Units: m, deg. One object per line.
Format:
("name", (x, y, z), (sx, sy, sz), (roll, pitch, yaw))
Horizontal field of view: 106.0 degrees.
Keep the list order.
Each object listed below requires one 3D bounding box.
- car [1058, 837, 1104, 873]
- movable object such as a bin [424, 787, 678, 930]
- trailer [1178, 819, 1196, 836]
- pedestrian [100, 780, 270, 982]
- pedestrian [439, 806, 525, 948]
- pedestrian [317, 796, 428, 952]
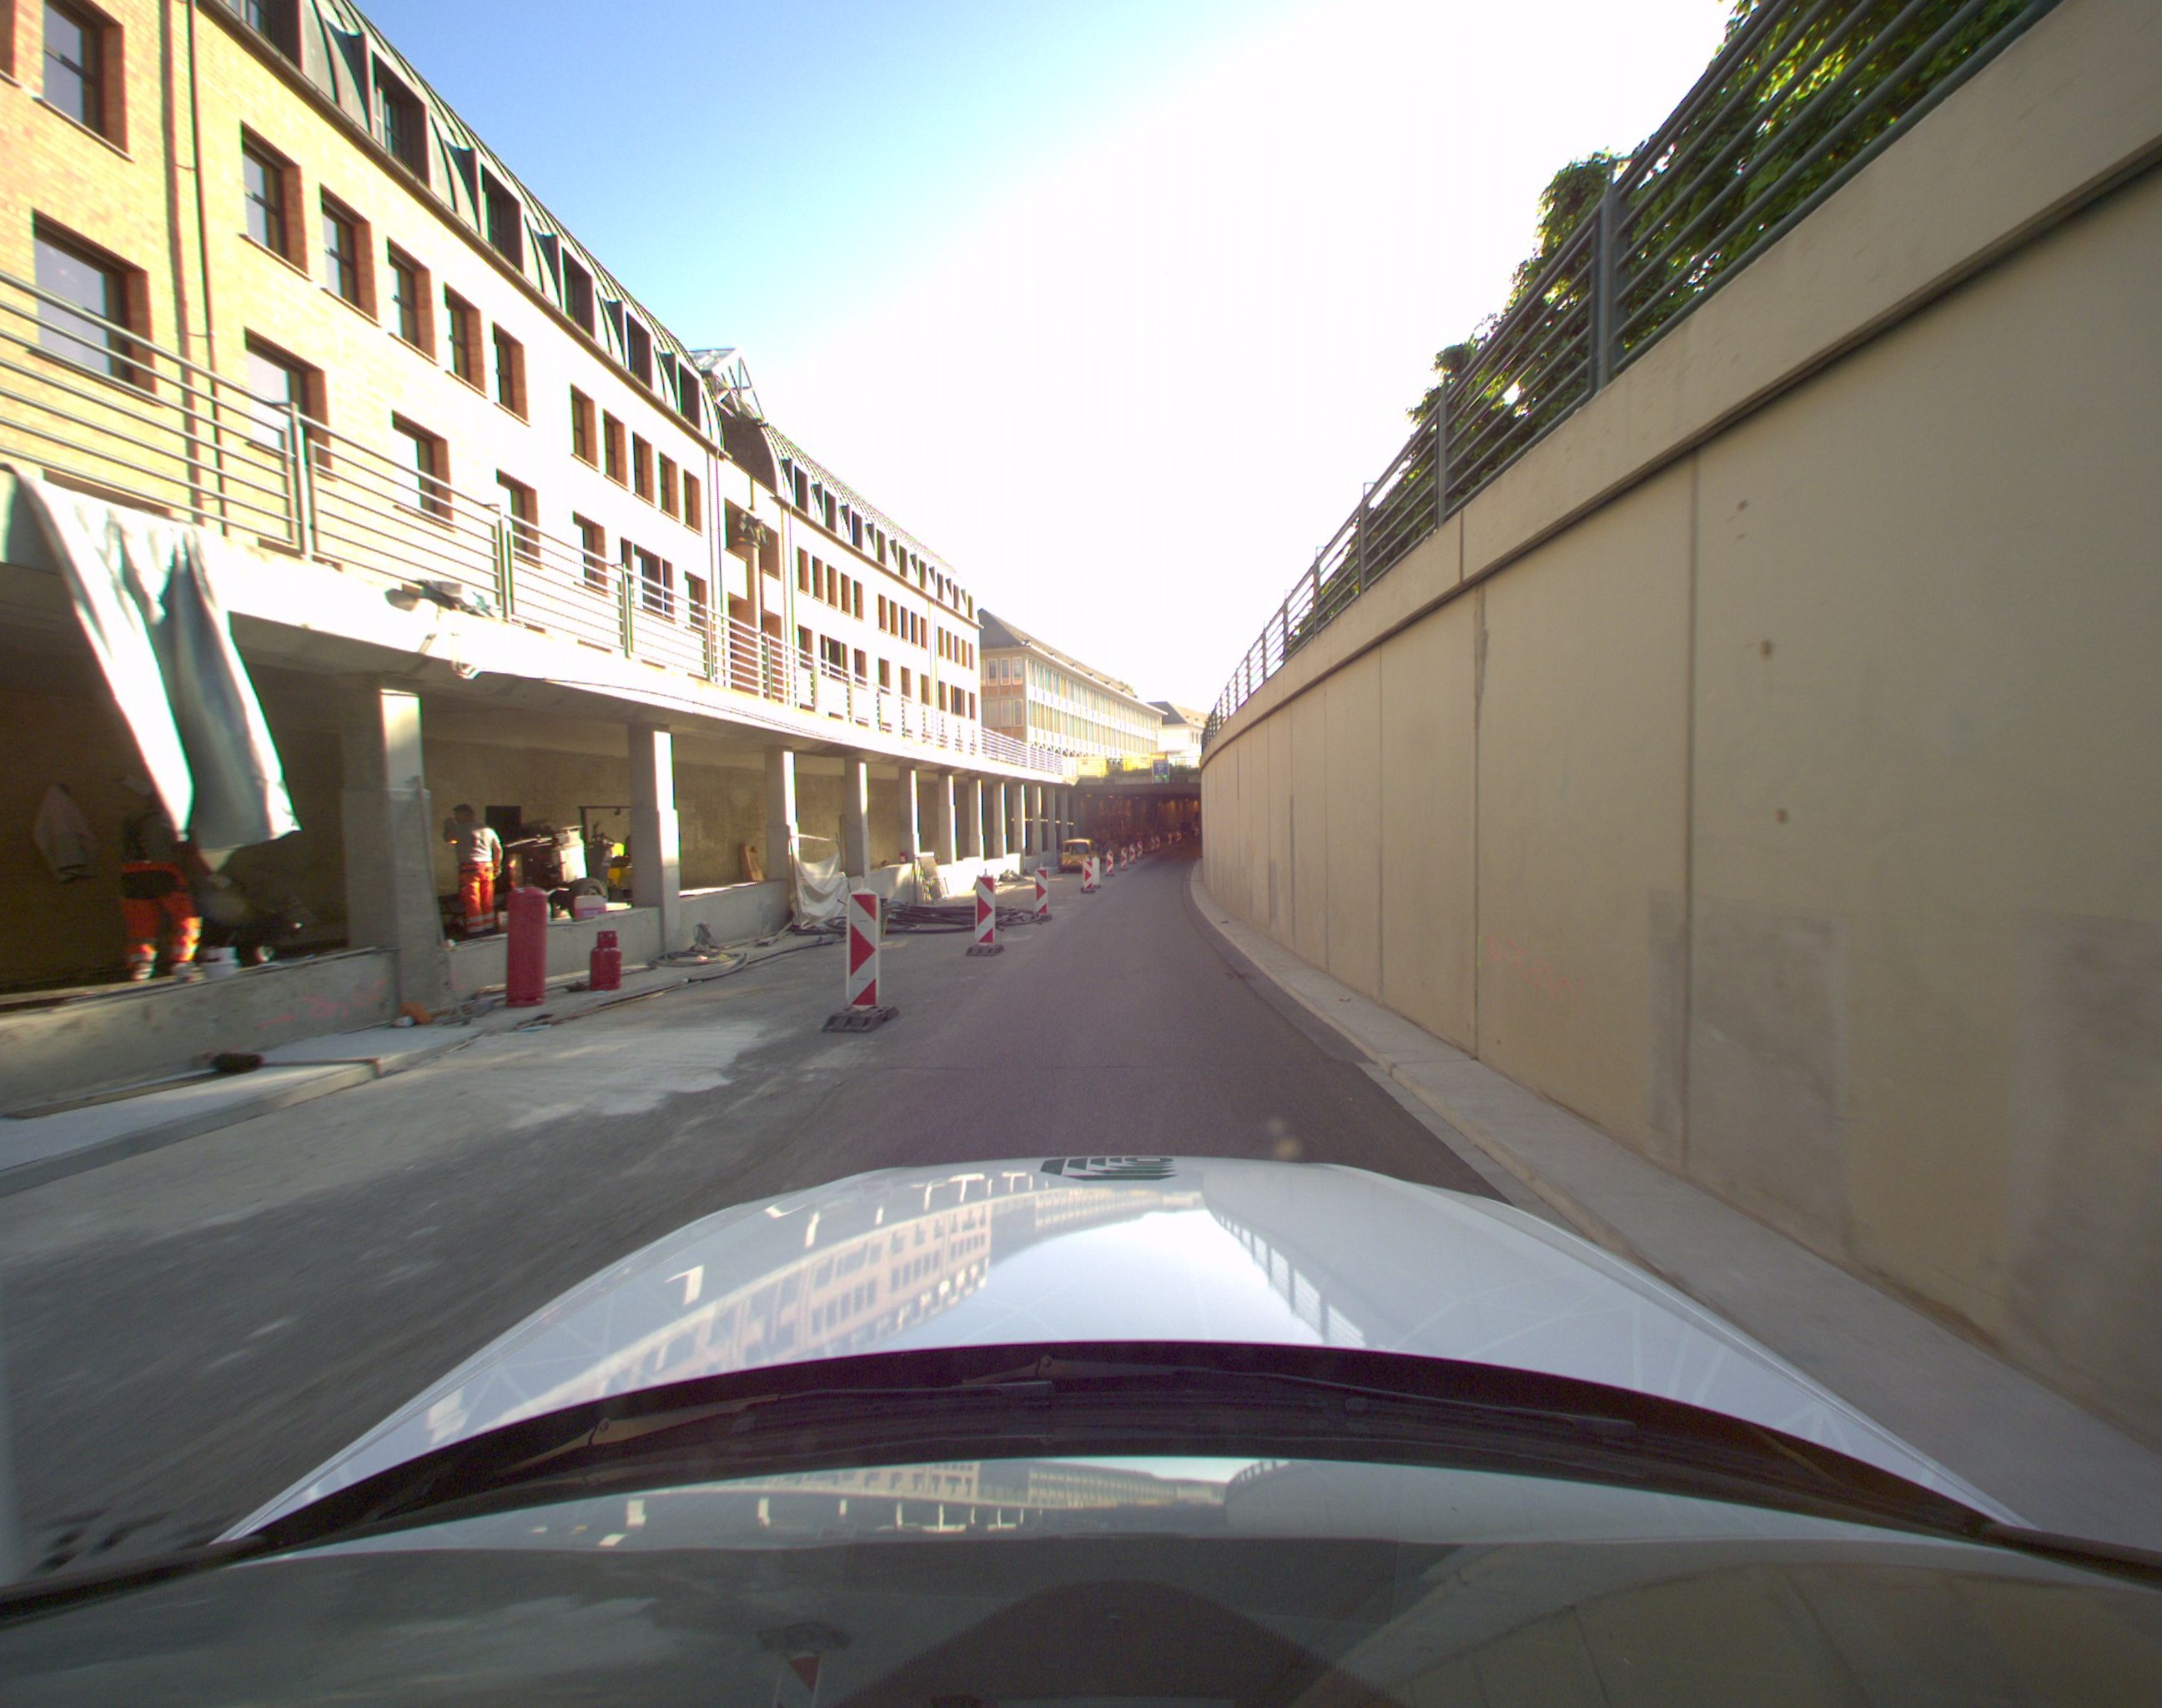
("car", (0.051, 0.009, 44.660), (1.837, 1.775, 4.446), (0, 3, 9))
("movable object such as a bin", (-8.119, 0.040, 12.856), (1.879, 1.987, 3.160), (0, 1, 1))
("trailer", (12.261, -3.088, 94.054), (1.569, 1.797, 2.952), (1, 3, 16))
("pedestrian", (-9.193, 0.262, 8.403), (0.674, 1.957, 0.937), (1, 0, 3))
("pedestrian", (-7.882, 0.286, 10.739), (0.653, 1.805, 0.626), (0, 0, 11))
("pedestrian", (-8.528, 0.227, 9.826), (0.701, 1.814, 0.710), (0, 0, 1))
